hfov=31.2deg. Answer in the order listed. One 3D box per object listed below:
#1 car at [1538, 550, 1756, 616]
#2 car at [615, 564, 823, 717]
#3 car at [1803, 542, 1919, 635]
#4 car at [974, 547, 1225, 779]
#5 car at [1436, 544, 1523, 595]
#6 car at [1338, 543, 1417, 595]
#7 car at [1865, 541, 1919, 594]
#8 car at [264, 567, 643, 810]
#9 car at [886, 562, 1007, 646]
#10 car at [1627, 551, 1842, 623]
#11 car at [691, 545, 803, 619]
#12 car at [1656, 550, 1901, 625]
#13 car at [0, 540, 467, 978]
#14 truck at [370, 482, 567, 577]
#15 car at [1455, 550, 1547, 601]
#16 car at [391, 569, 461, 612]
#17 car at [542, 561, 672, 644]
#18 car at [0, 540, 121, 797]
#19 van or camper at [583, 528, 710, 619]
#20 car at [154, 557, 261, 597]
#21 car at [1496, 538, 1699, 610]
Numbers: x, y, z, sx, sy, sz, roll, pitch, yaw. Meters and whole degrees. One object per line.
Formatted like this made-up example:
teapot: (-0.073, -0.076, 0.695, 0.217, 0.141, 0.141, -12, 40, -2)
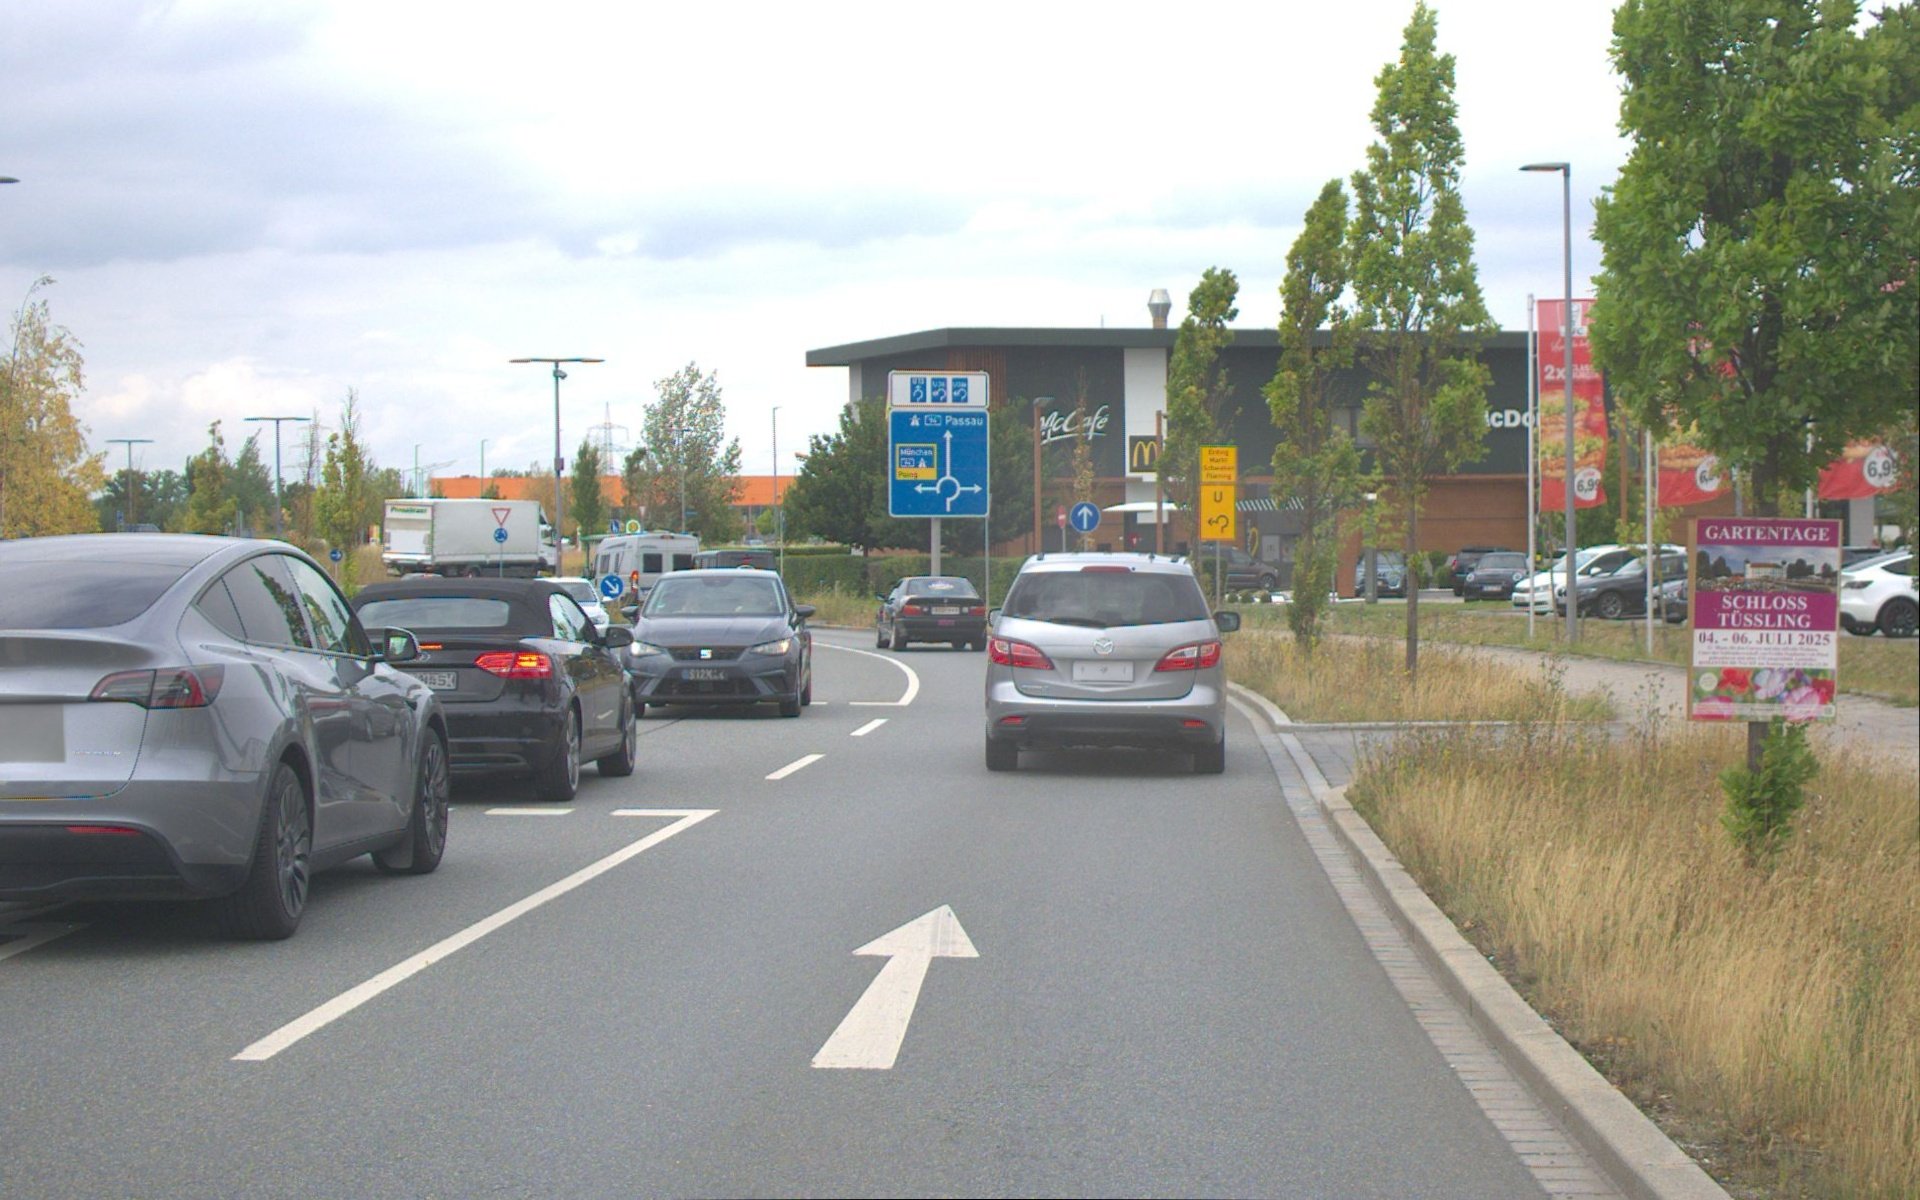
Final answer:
car: (15.812, -0.416, 79.237, 4.466, 1.431, 2.074, -1, 1, -16)
car: (-2.332, 0.356, 34.203, 1.829, 1.415, 4.246, 0, 1, -1)
car: (18.424, -0.263, 64.487, 4.560, 1.639, 2.089, -2, 1, -8)
car: (1.065, 0.416, 25.912, 1.730, 1.594, 3.807, 1, 1, 3)
car: (17.785, -1.044, 117.541, 2.118, 1.711, 4.226, 0, 1, 20)
car: (14.071, -1.041, 115.759, 1.995, 1.711, 3.997, 0, 1, 17)
car: (30.975, -1.042, 108.038, 4.723, 1.651, 1.998, 0, 1, 21)
car: (-3.214, 0.523, 22.598, 1.769, 1.433, 4.231, -1, 0, 1)
car: (-0.279, 0.043, 62.054, 1.844, 1.413, 4.225, -1, 1, -5)
car: (16.738, -0.298, 74.367, 4.082, 1.433, 1.943, -1, 1, -15)
car: (-5.394, -0.461, 86.604, 2.057, 1.819, 4.787, 0, 1, -13)
car: (16.987, -0.268, 71.398, 4.516, 1.464, 2.033, -1, 1, -13)
car: (-3.536, 0.538, 14.697, 1.994, 1.556, 4.613, -1, 1, 2)
truck: (-20.847, -3.003, 146.383, 3.138, 3.893, 9.320, 0, 1, 30)
car: (14.640, -0.665, 92.935, 1.813, 1.308, 3.846, 0, 1, 19)
car: (-19.494, -0.362, 125.314, 1.993, 1.510, 4.001, -1, 1, -16)
car: (-6.554, 0.022, 64.227, 1.836, 1.412, 4.499, -2, 1, 1)
car: (-7.111, 0.468, 22.349, 1.993, 1.631, 4.703, -2, 1, 2)
van or camper: (-8.852, -0.766, 96.632, 2.302, 2.497, 5.207, 0, 1, -20)
car: (-29.727, -0.923, 135.758, 3.986, 1.510, 2.001, -1, 1, -17)
car: (15.143, -0.635, 81.668, 4.346, 1.634, 1.938, -1, 1, -19)
